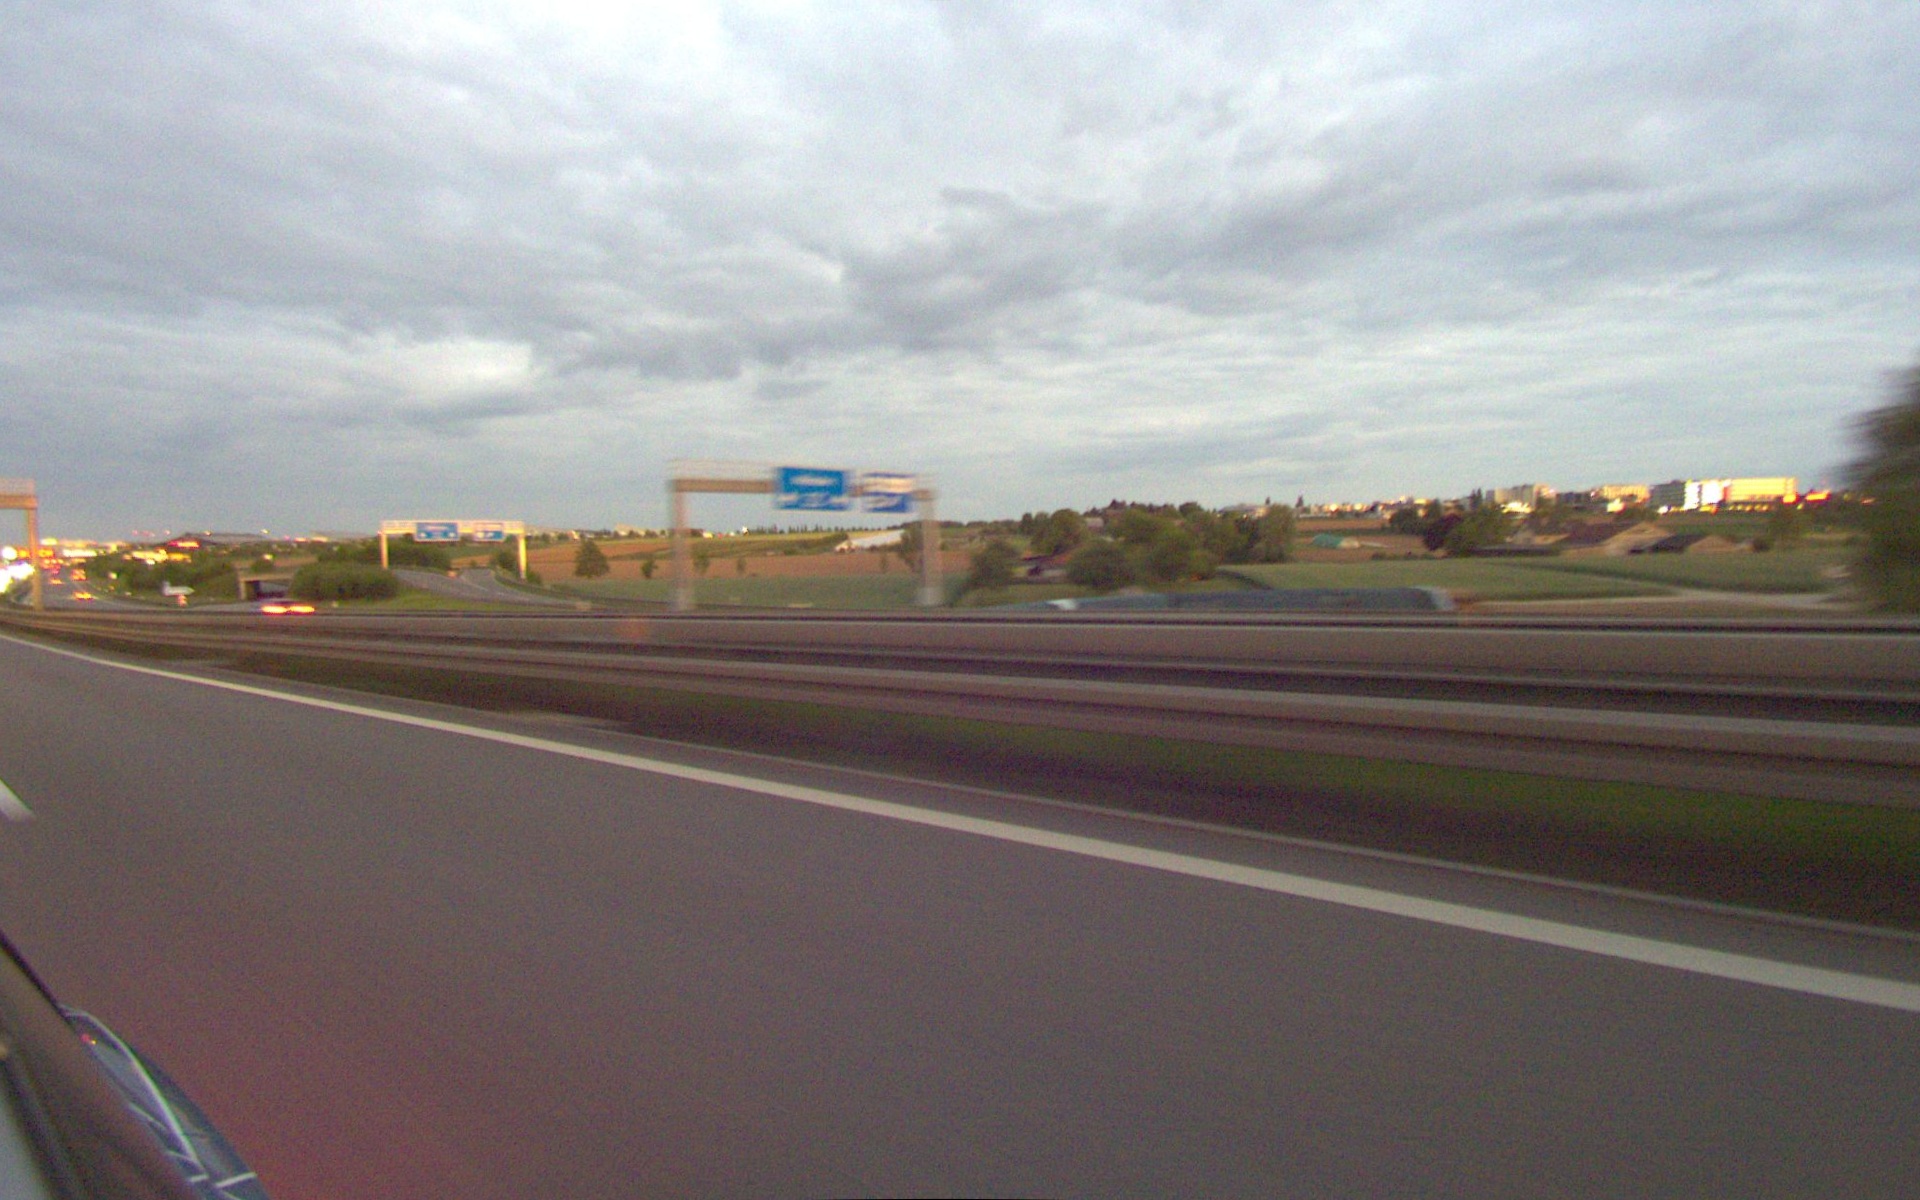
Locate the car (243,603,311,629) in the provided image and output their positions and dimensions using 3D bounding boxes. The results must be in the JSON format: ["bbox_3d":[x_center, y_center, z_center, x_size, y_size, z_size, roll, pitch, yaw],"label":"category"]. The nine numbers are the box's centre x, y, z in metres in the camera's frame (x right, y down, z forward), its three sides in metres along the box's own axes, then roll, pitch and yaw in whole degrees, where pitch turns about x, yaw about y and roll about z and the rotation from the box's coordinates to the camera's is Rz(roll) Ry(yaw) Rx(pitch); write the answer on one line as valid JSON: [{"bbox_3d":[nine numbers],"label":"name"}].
[{"bbox_3d":[-38.301,0.917,56.703,4.862,1.368,1.973,-2,0,41],"label":"car"}]
